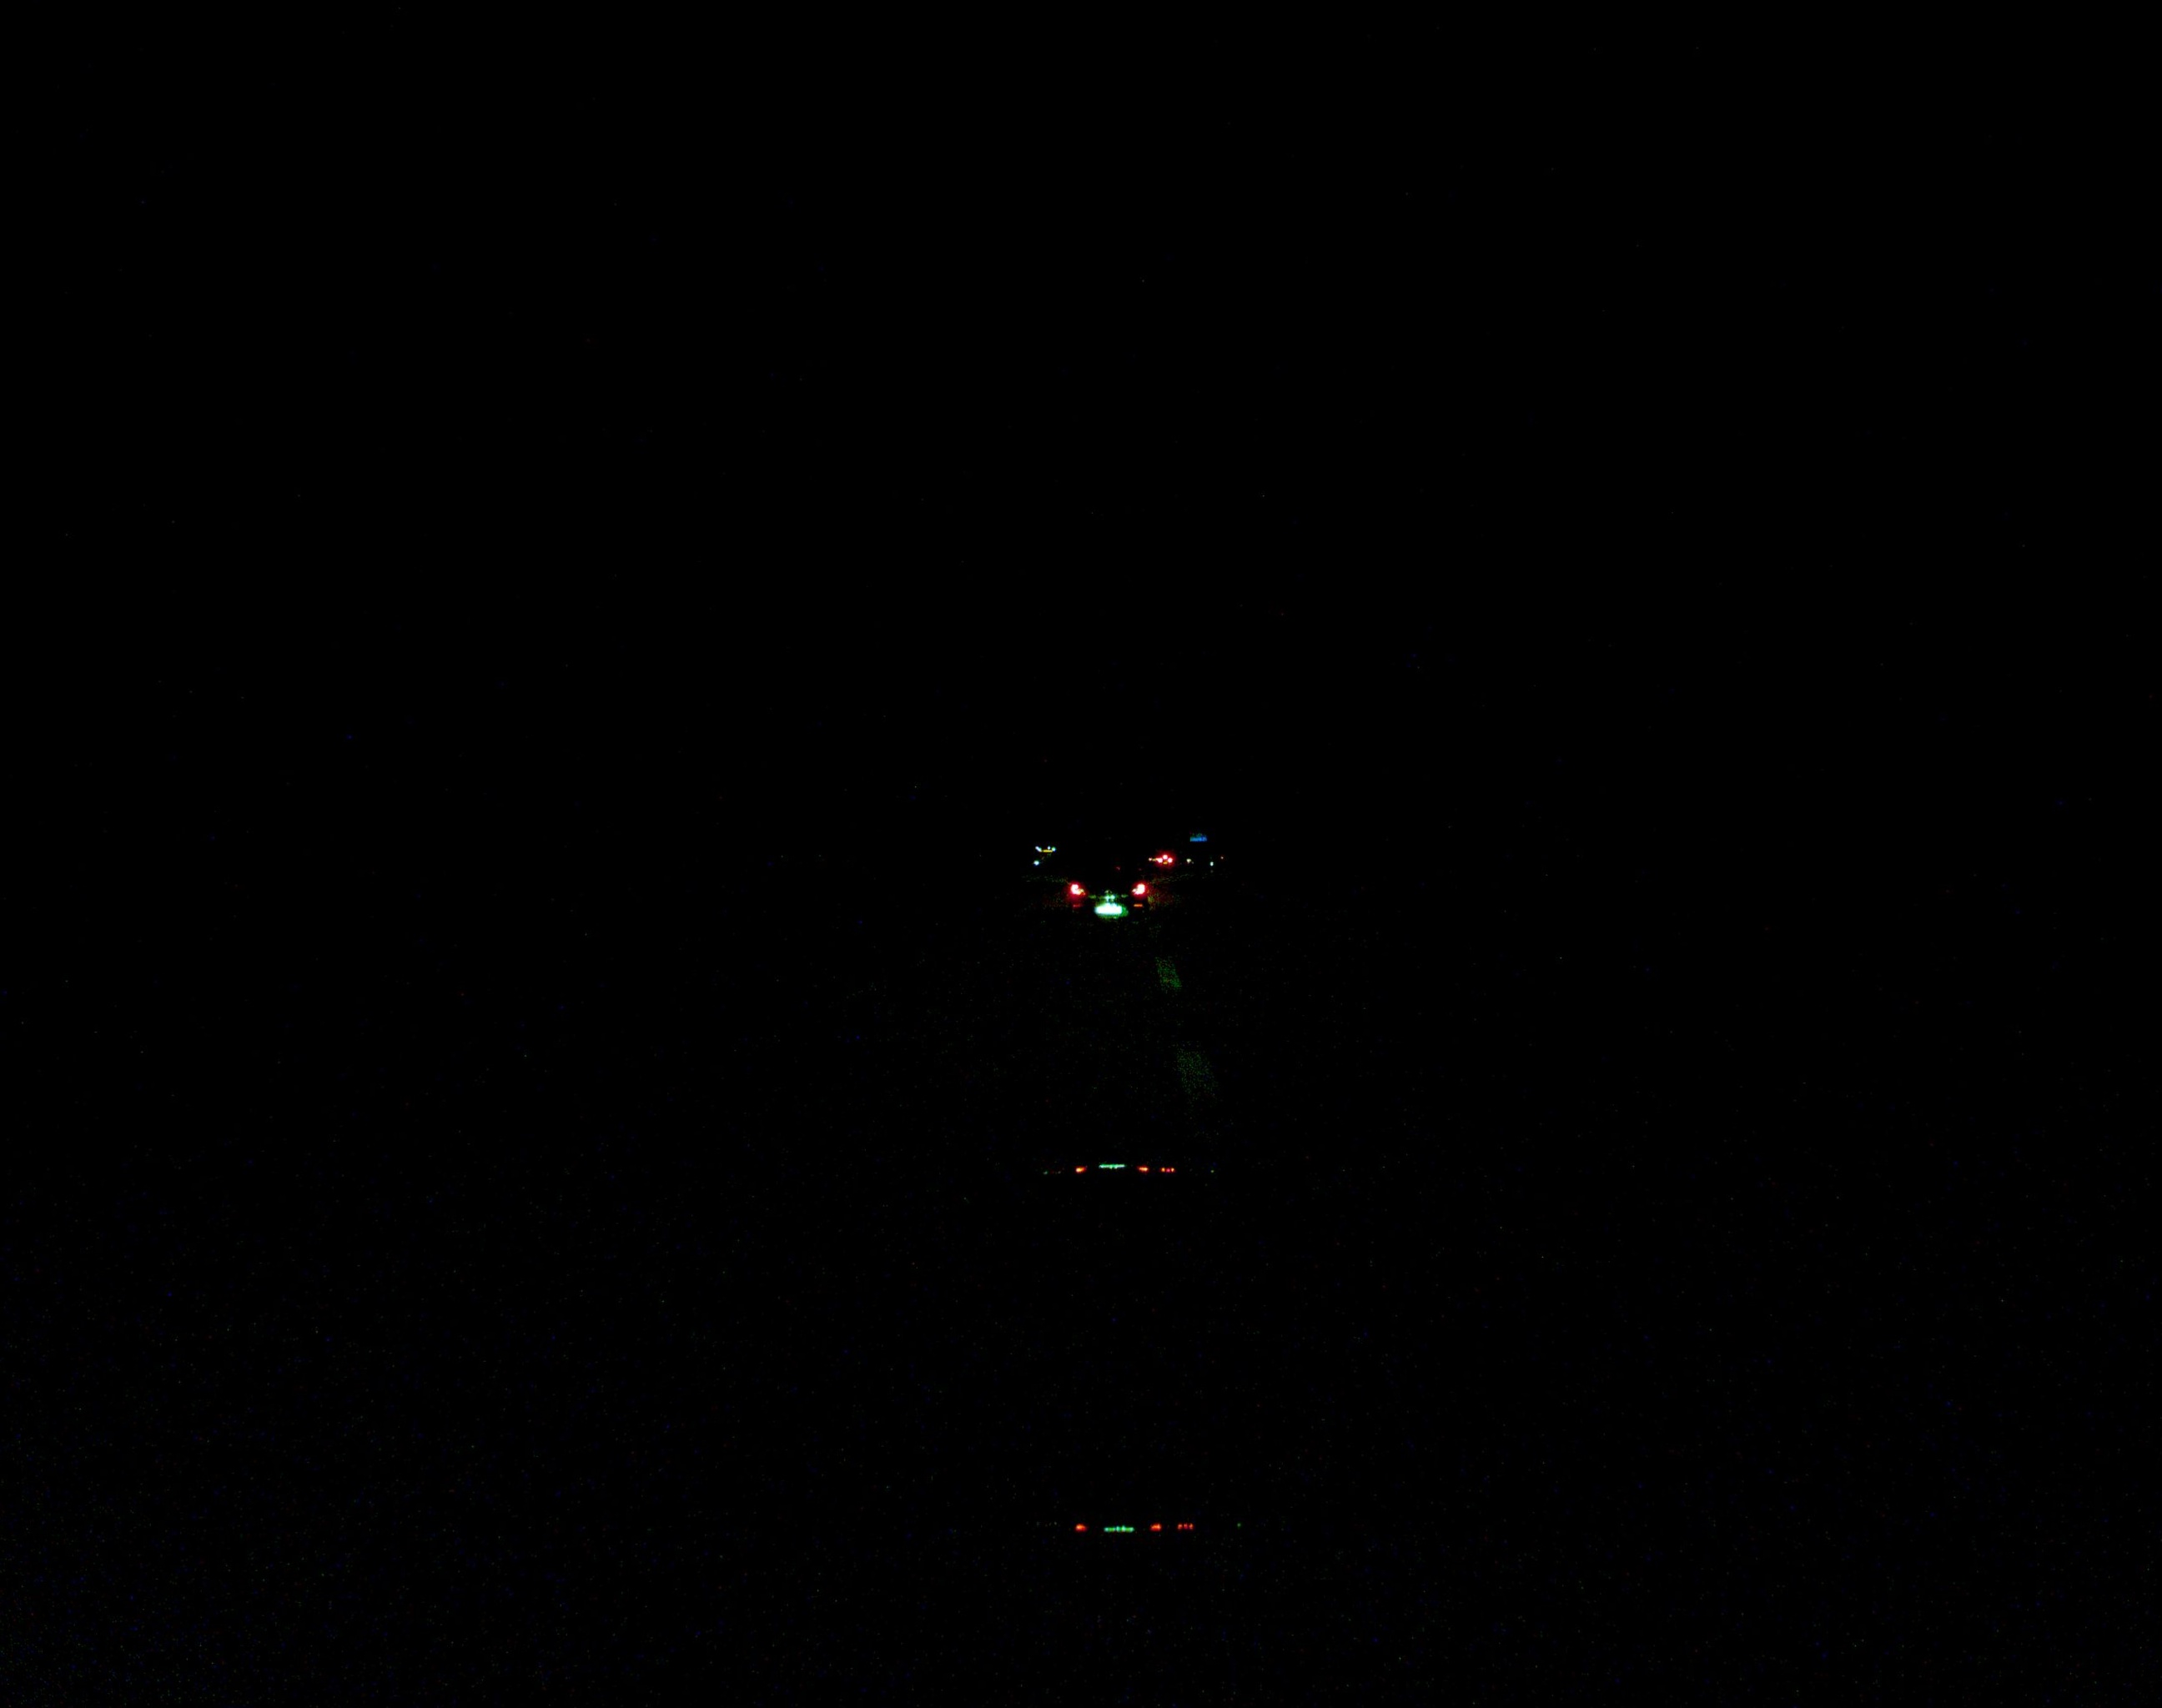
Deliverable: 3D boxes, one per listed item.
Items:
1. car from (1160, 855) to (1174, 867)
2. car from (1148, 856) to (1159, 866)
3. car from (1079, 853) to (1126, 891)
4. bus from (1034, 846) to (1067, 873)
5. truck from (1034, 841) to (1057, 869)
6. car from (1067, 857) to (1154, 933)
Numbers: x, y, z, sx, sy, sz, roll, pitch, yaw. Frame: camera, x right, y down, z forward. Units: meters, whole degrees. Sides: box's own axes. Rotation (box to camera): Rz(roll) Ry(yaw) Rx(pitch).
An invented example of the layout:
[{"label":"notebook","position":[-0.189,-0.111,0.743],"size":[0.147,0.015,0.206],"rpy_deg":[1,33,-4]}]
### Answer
[{"label":"car","position":[12.268,0.966,116.320],"size":[1.726,1.618,3.800],"rpy_deg":[-1,-1,2]},{"label":"car","position":[13.453,1.301,151.108],"size":[1.943,1.538,4.245],"rpy_deg":[-5,-2,4]},{"label":"car","position":[1.049,0.777,37.031],"size":[1.932,1.608,4.648],"rpy_deg":[-1,0,4]},{"label":"bus","position":[-4.089,0.682,111.064],"size":[2.910,3.387,12.324],"rpy_deg":[-1,0,5]},{"label":"truck","position":[-5.581,0.144,129.166],"size":[2.663,4.177,5.877],"rpy_deg":[-1,0,5]},{"label":"car","position":[0.614,0.816,17.960],"size":[1.685,1.478,4.000],"rpy_deg":[-1,0,1]}]
